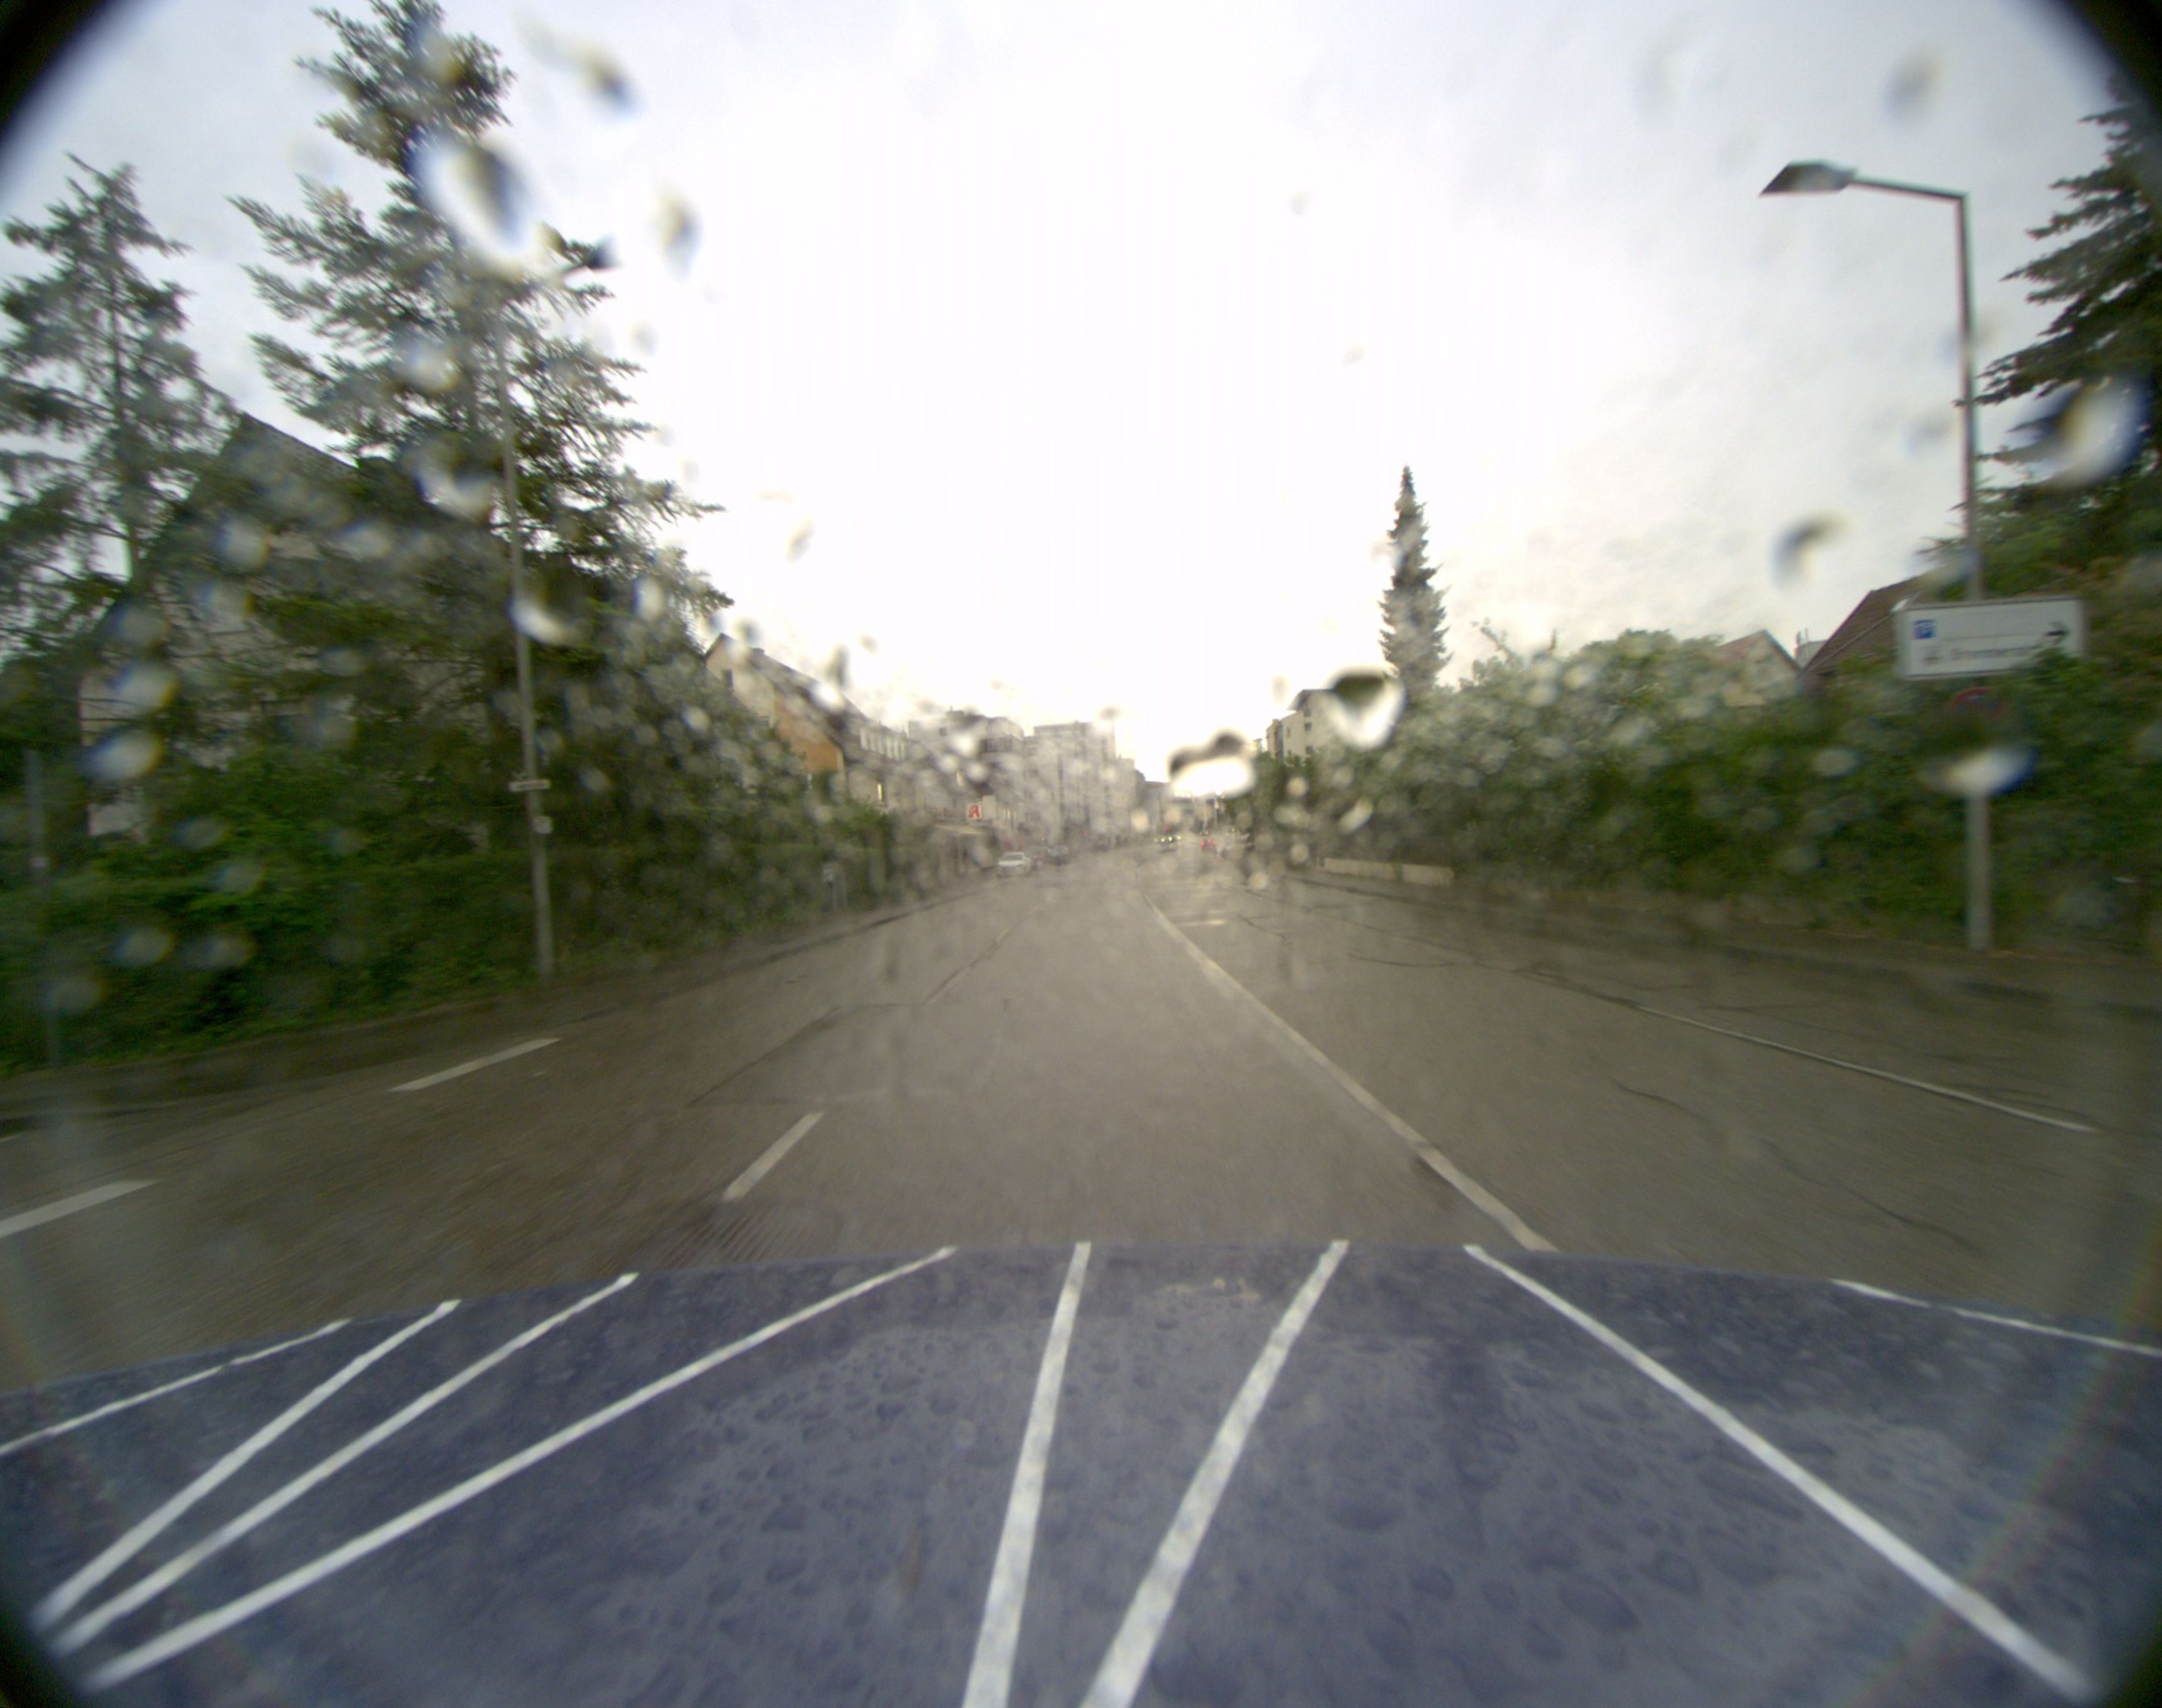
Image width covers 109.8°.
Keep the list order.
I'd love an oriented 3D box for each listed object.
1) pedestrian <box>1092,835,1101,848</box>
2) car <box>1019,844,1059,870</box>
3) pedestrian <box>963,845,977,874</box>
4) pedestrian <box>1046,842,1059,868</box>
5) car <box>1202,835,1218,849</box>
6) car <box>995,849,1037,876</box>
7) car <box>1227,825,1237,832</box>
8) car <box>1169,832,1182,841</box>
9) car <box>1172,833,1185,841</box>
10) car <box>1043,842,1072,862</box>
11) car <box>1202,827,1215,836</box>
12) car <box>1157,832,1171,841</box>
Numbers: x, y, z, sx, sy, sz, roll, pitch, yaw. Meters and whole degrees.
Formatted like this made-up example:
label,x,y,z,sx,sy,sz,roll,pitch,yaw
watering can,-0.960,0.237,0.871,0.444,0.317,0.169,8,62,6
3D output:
label,x,y,z,sx,sy,sz,roll,pitch,yaw
pedestrian,2.065,-1.692,101.672,0.667,1.693,0.948,-3,3,29
car,-3.058,0.157,56.210,2.039,1.686,4.963,-1,2,7
pedestrian,-6.583,0.316,44.928,0.552,1.669,0.515,-4,2,-32
pedestrian,-2.098,0.096,56.248,0.622,1.881,0.648,-1,2,41
car,15.941,-1.493,93.641,1.778,1.498,4.106,0,3,12
car,-3.963,0.489,46.905,1.819,1.440,4.204,-1,1,6
car,38.875,-6.662,195.252,1.826,1.678,4.004,-2,2,21
car,18.164,-3.439,146.162,1.751,1.470,4.003,-4,2,16
car,19.696,-3.447,153.342,1.896,1.536,4.024,-3,2,18
car,-2.087,-0.192,69.556,1.878,1.634,4.793,-1,2,7
car,30.608,-5.417,182.437,1.996,2.002,4.004,-6,1,21
car,15.199,-3.276,138.986,1.738,1.478,4.153,-2,2,20
